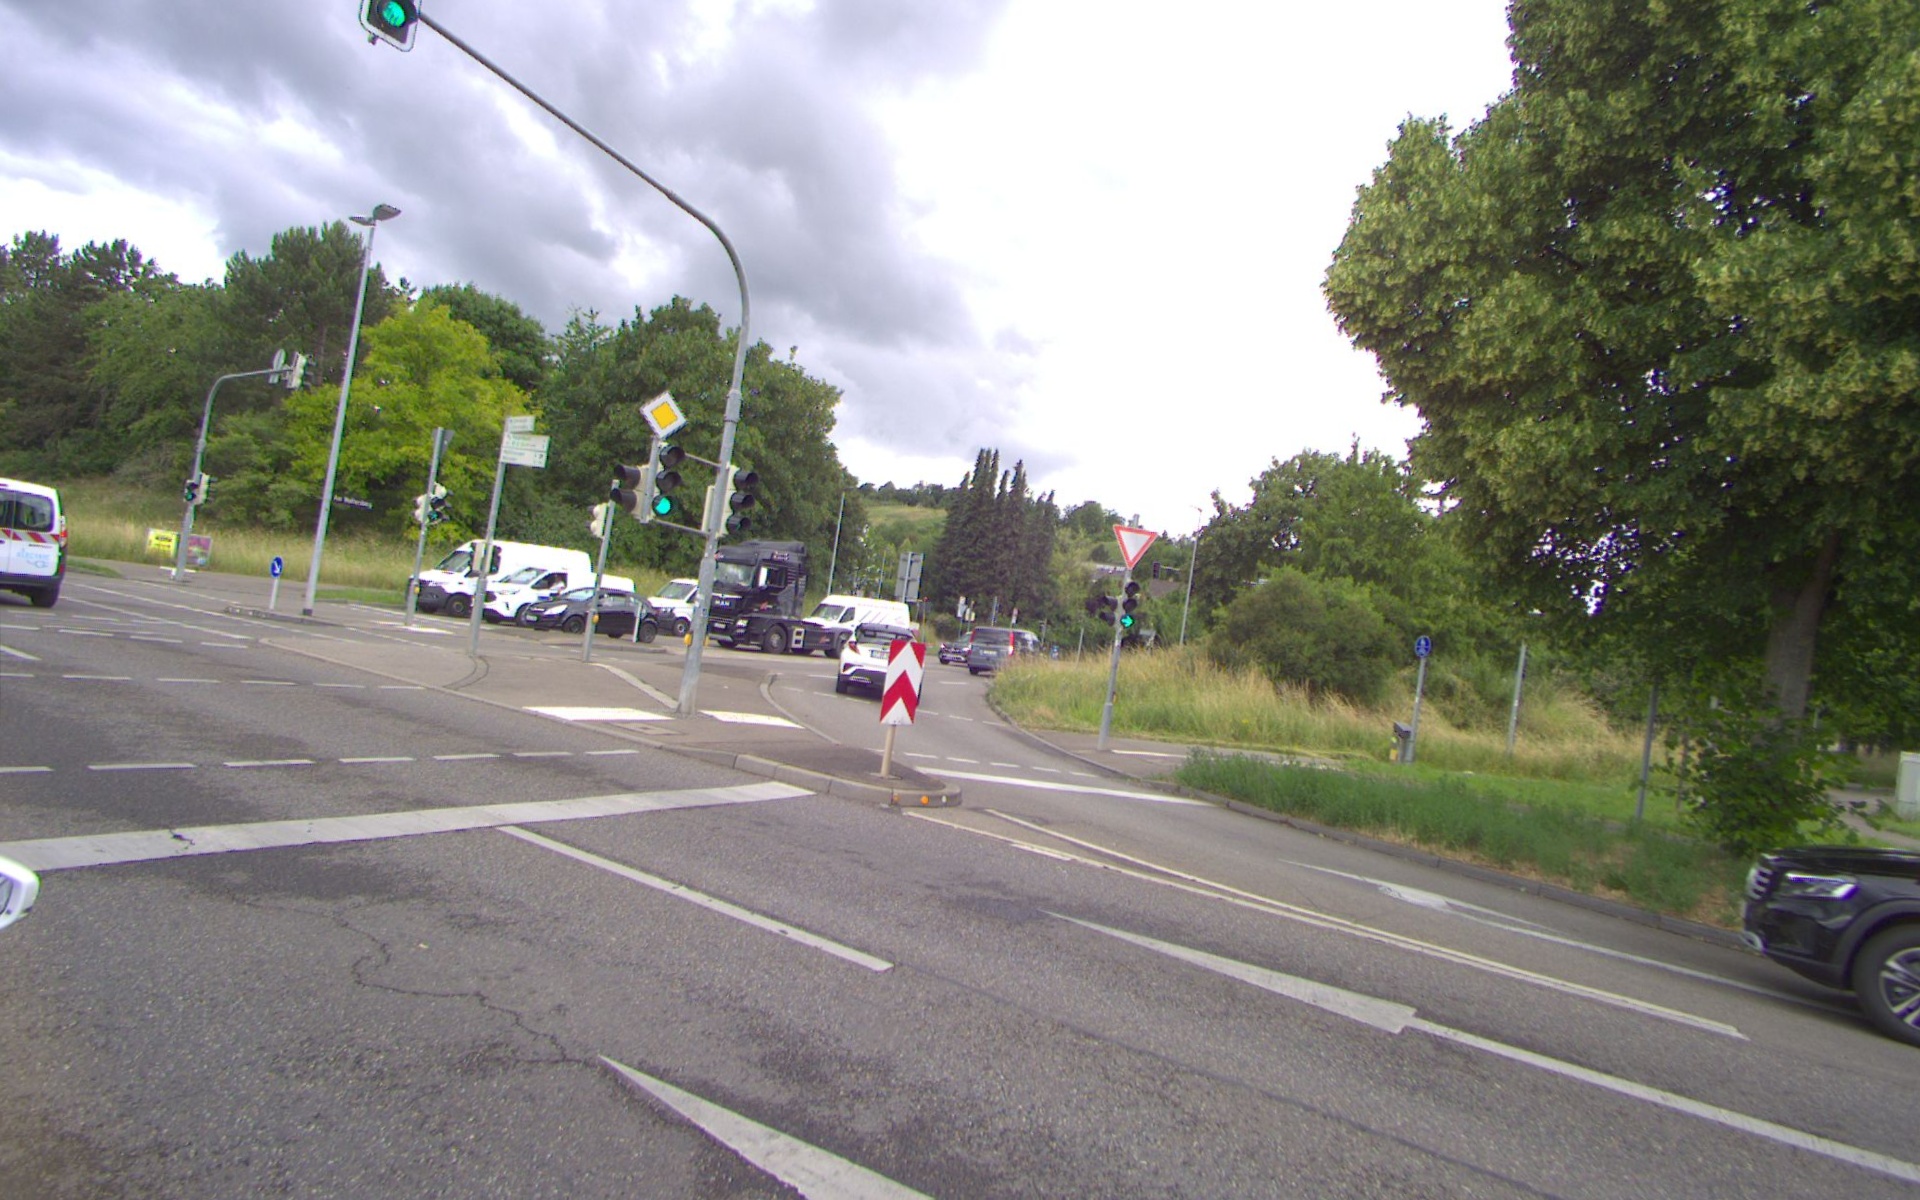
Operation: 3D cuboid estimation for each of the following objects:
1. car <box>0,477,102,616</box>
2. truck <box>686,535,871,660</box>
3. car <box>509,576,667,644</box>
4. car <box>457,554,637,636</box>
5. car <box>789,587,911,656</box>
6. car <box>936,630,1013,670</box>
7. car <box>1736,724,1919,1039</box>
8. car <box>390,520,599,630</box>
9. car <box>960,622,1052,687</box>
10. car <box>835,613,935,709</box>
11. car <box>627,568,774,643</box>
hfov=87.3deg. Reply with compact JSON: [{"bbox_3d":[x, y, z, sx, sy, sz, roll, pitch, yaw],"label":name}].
[{"bbox_3d":[-15.241,-0.978,15.234,4.760,1.823,1.997,6,-1,32],"label":"car"},{"bbox_3d":[-6.209,0.024,35.342,2.682,3.580,6.061,7,-1,32],"label":"truck"},{"bbox_3d":[-10.603,0.335,28.931,1.703,1.453,3.927,7,-1,31],"label":"car"},{"bbox_3d":[-12.930,-0.095,31.817,1.999,1.918,4.862,7,-1,31],"label":"car"},{"bbox_3d":[-5.263,1.124,49.275,2.160,2.640,6.509,7,-1,32],"label":"car"},{"bbox_3d":[0.702,2.331,46.651,1.703,1.453,3.927,7,-1,31],"label":"car"},{"bbox_3d":[7.204,1.953,5.611,4.359,1.666,1.784,7,-4,38],"label":"car"},{"bbox_3d":[-15.333,-0.736,33.599,2.100,2.814,5.903,7,-1,32],"label":"car"},{"bbox_3d":[1.850,2.157,38.505,1.887,1.852,4.731,8,-4,22],"label":"car"},{"bbox_3d":[-1.700,1.253,22.236,1.756,1.553,4.300,10,0,-6],"label":"car"},{"bbox_3d":[-10.423,0.290,40.906,2.100,2.316,5.709,7,-1,32],"label":"car"}]
